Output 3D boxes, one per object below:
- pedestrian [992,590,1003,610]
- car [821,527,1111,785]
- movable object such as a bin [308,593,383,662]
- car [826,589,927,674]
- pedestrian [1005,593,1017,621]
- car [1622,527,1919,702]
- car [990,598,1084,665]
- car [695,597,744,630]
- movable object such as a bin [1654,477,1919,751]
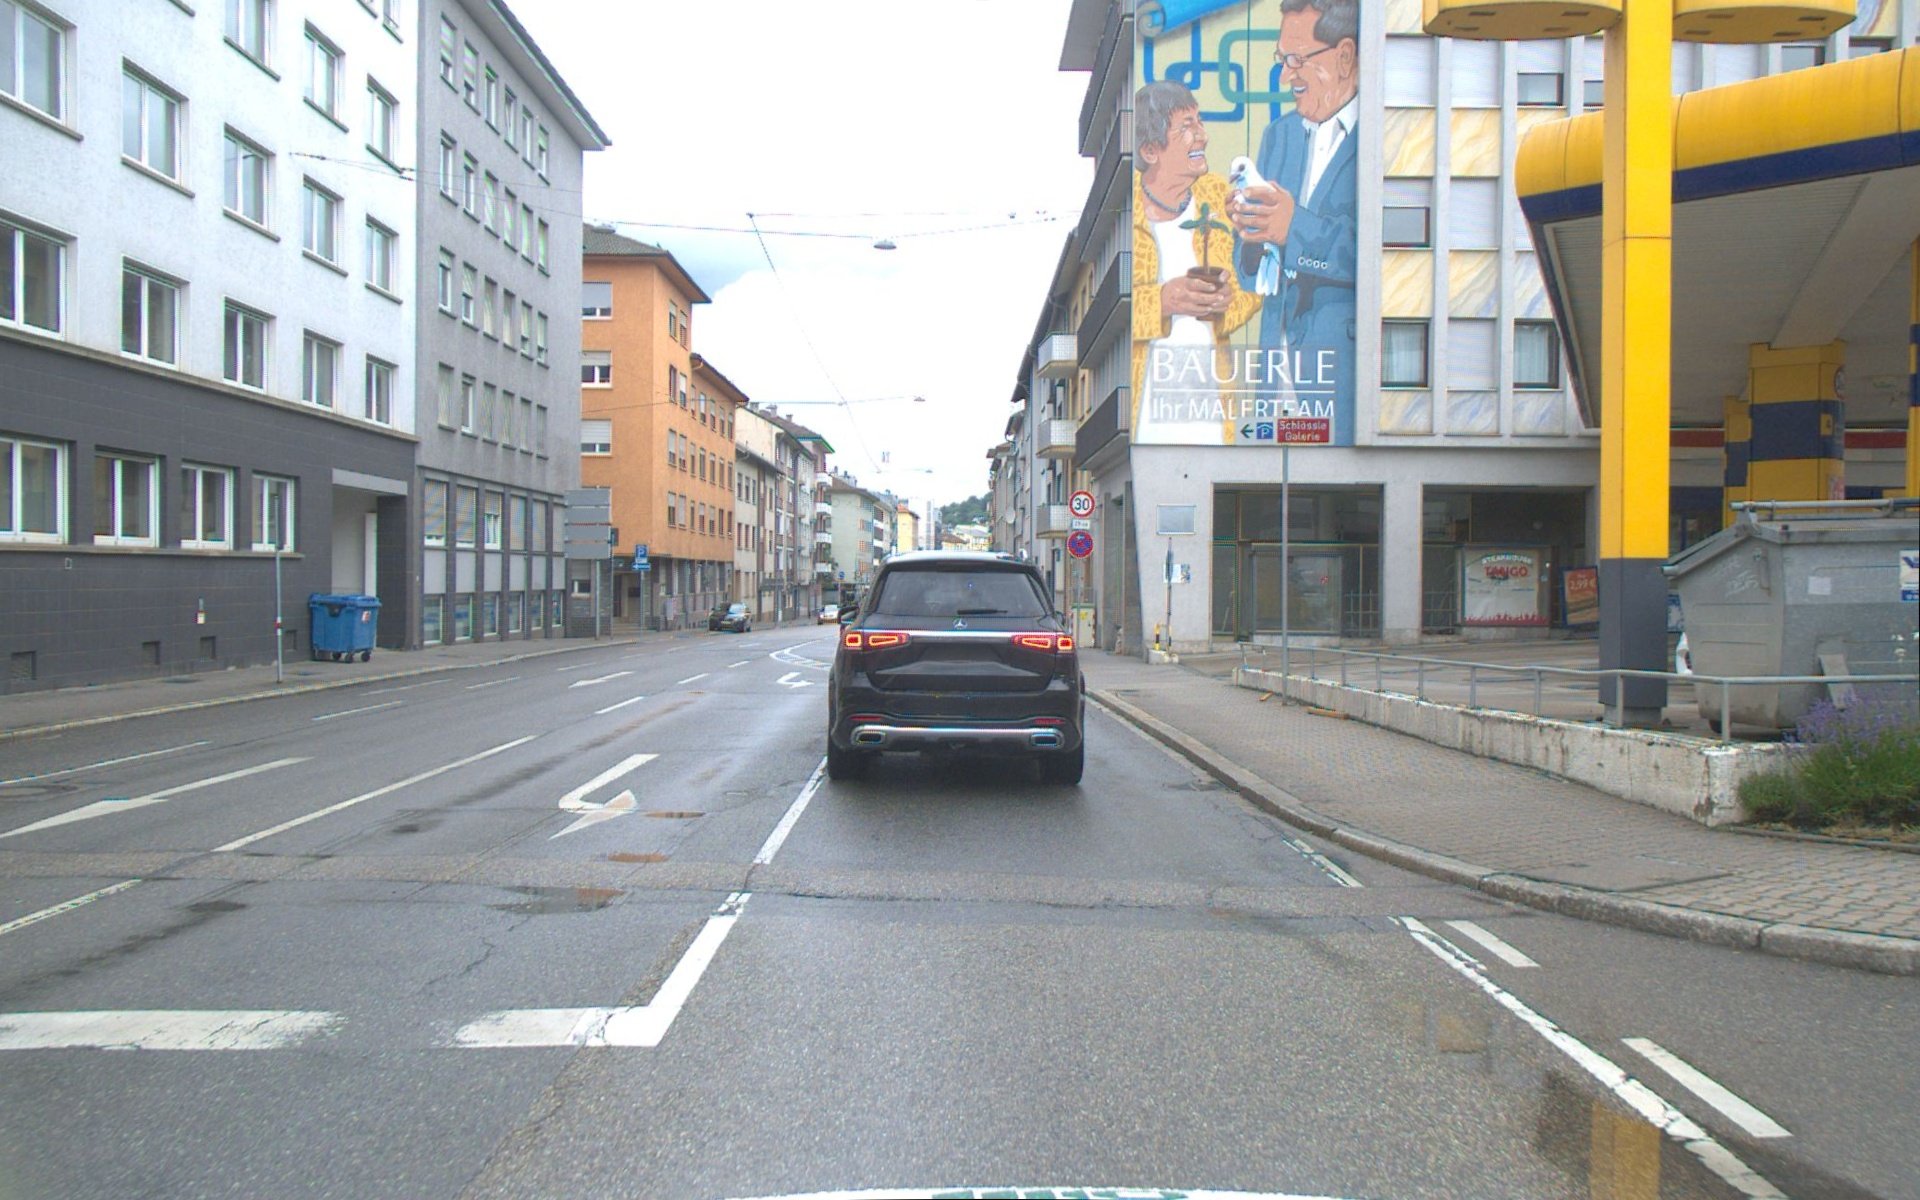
[{"bbox_3d":[3.090,-0.004,136.106,0.804,1.592,0.900,2,0,2],"label":"pedestrian"},{"bbox_3d":[0.020,0.382,14.175,2.034,1.796,4.610,2,0,-1],"label":"car"},{"bbox_3d":[-12.565,0.551,33.830,1.054,1.347,1.190,2,0,0],"label":"movable object such as a bin"},{"bbox_3d":[-1.676,0.583,33.418,1.855,1.537,4.171,3,0,-3],"label":"car"},{"bbox_3d":[3.270,0.457,106.259,0.642,1.782,0.742,-2,0,4],"label":"pedestrian"},{"bbox_3d":[8.260,0.121,14.843,3.931,1.467,1.735,-2,-1,44],"label":"car"},{"bbox_3d":[1.870,0.740,41.602,1.856,1.427,4.606,-5,1,-3],"label":"car"},{"bbox_3d":[-11.642,0.615,80.224,1.853,1.484,4.547,2,0,-2],"label":"car"},{"bbox_3d":[5.873,0.072,10.598,2.111,1.602,1.773,-1,0,0],"label":"movable object such as a bin"}]
